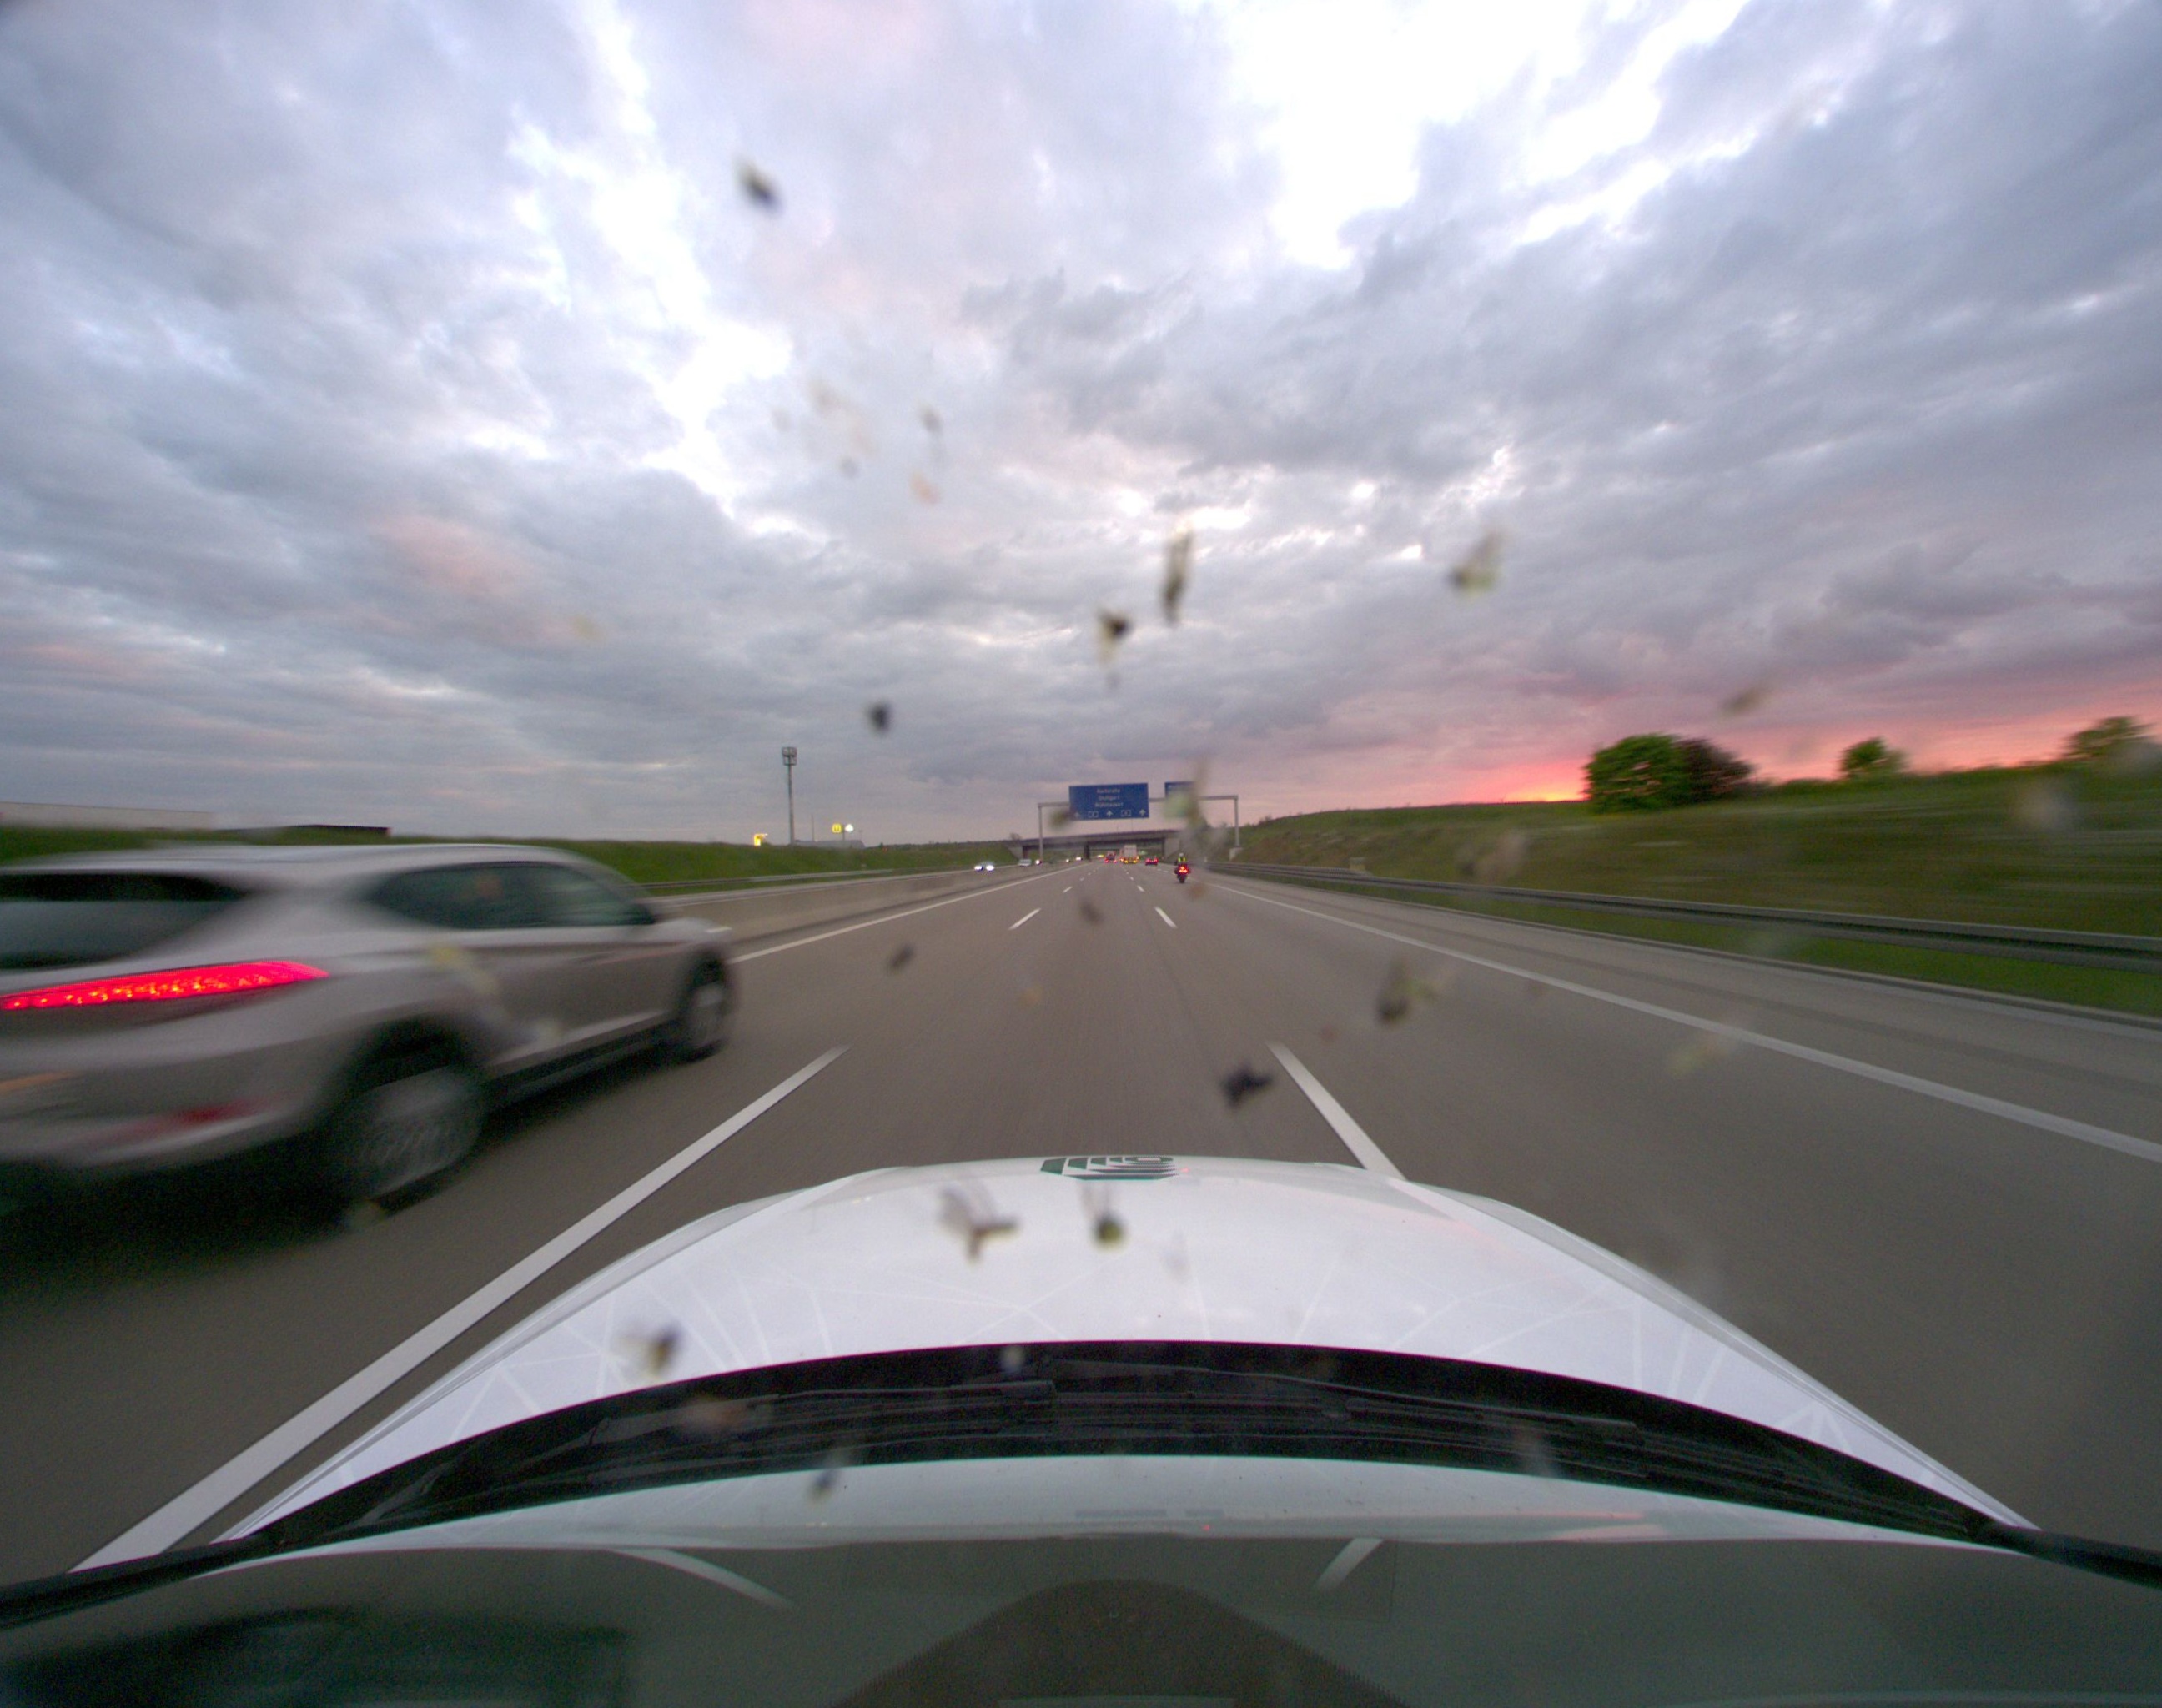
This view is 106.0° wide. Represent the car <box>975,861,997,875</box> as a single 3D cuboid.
[{"bbox_3d":[-11.665,1.672,100.170,1.996,1.587,4.573,-2,0,1],"label":"car"}]

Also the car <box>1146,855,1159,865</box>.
[{"bbox_3d":[11.589,1.002,132.604,1.911,1.579,4.001,-1,0,1],"label":"car"}]

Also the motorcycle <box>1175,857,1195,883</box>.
[{"bbox_3d":[5.839,0.885,46.000,0.898,1.346,2.350,-1,1,3],"label":"motorcycle"}]

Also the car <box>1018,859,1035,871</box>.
[{"bbox_3d":[-7.370,1.480,109.925,1.742,1.597,4.646,0,0,2],"label":"car"}]

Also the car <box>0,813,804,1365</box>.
[{"bbox_3d":[-3.774,0.744,5.281,1.845,1.692,5.515,-1,0,2],"label":"car"}]

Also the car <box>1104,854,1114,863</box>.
[{"bbox_3d":[7.590,1.203,220.307,2.507,2.391,6.498,-2,0,1],"label":"car"}]

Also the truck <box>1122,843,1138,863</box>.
[{"bbox_3d":[10.443,-0.258,173.446,3.221,4.227,9.605,0,0,3],"label":"truck"}]

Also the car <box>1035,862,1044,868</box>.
[{"bbox_3d":[-11.372,2.897,221.908,1.986,1.602,5.200,0,-1,1],"label":"car"}]

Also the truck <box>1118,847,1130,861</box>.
[{"bbox_3d":[13.790,-0.096,261.503,3.512,4.345,8.409,0,0,2],"label":"truck"}]

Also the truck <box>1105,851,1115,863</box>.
[{"bbox_3d":[8.329,0.796,236.456,2.941,3.217,8.409,0,0,2],"label":"truck"}]

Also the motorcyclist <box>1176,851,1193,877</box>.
[{"bbox_3d":[5.821,0.550,45.838,0.862,1.487,1.169,0,0,2],"label":"motorcyclist"}]
